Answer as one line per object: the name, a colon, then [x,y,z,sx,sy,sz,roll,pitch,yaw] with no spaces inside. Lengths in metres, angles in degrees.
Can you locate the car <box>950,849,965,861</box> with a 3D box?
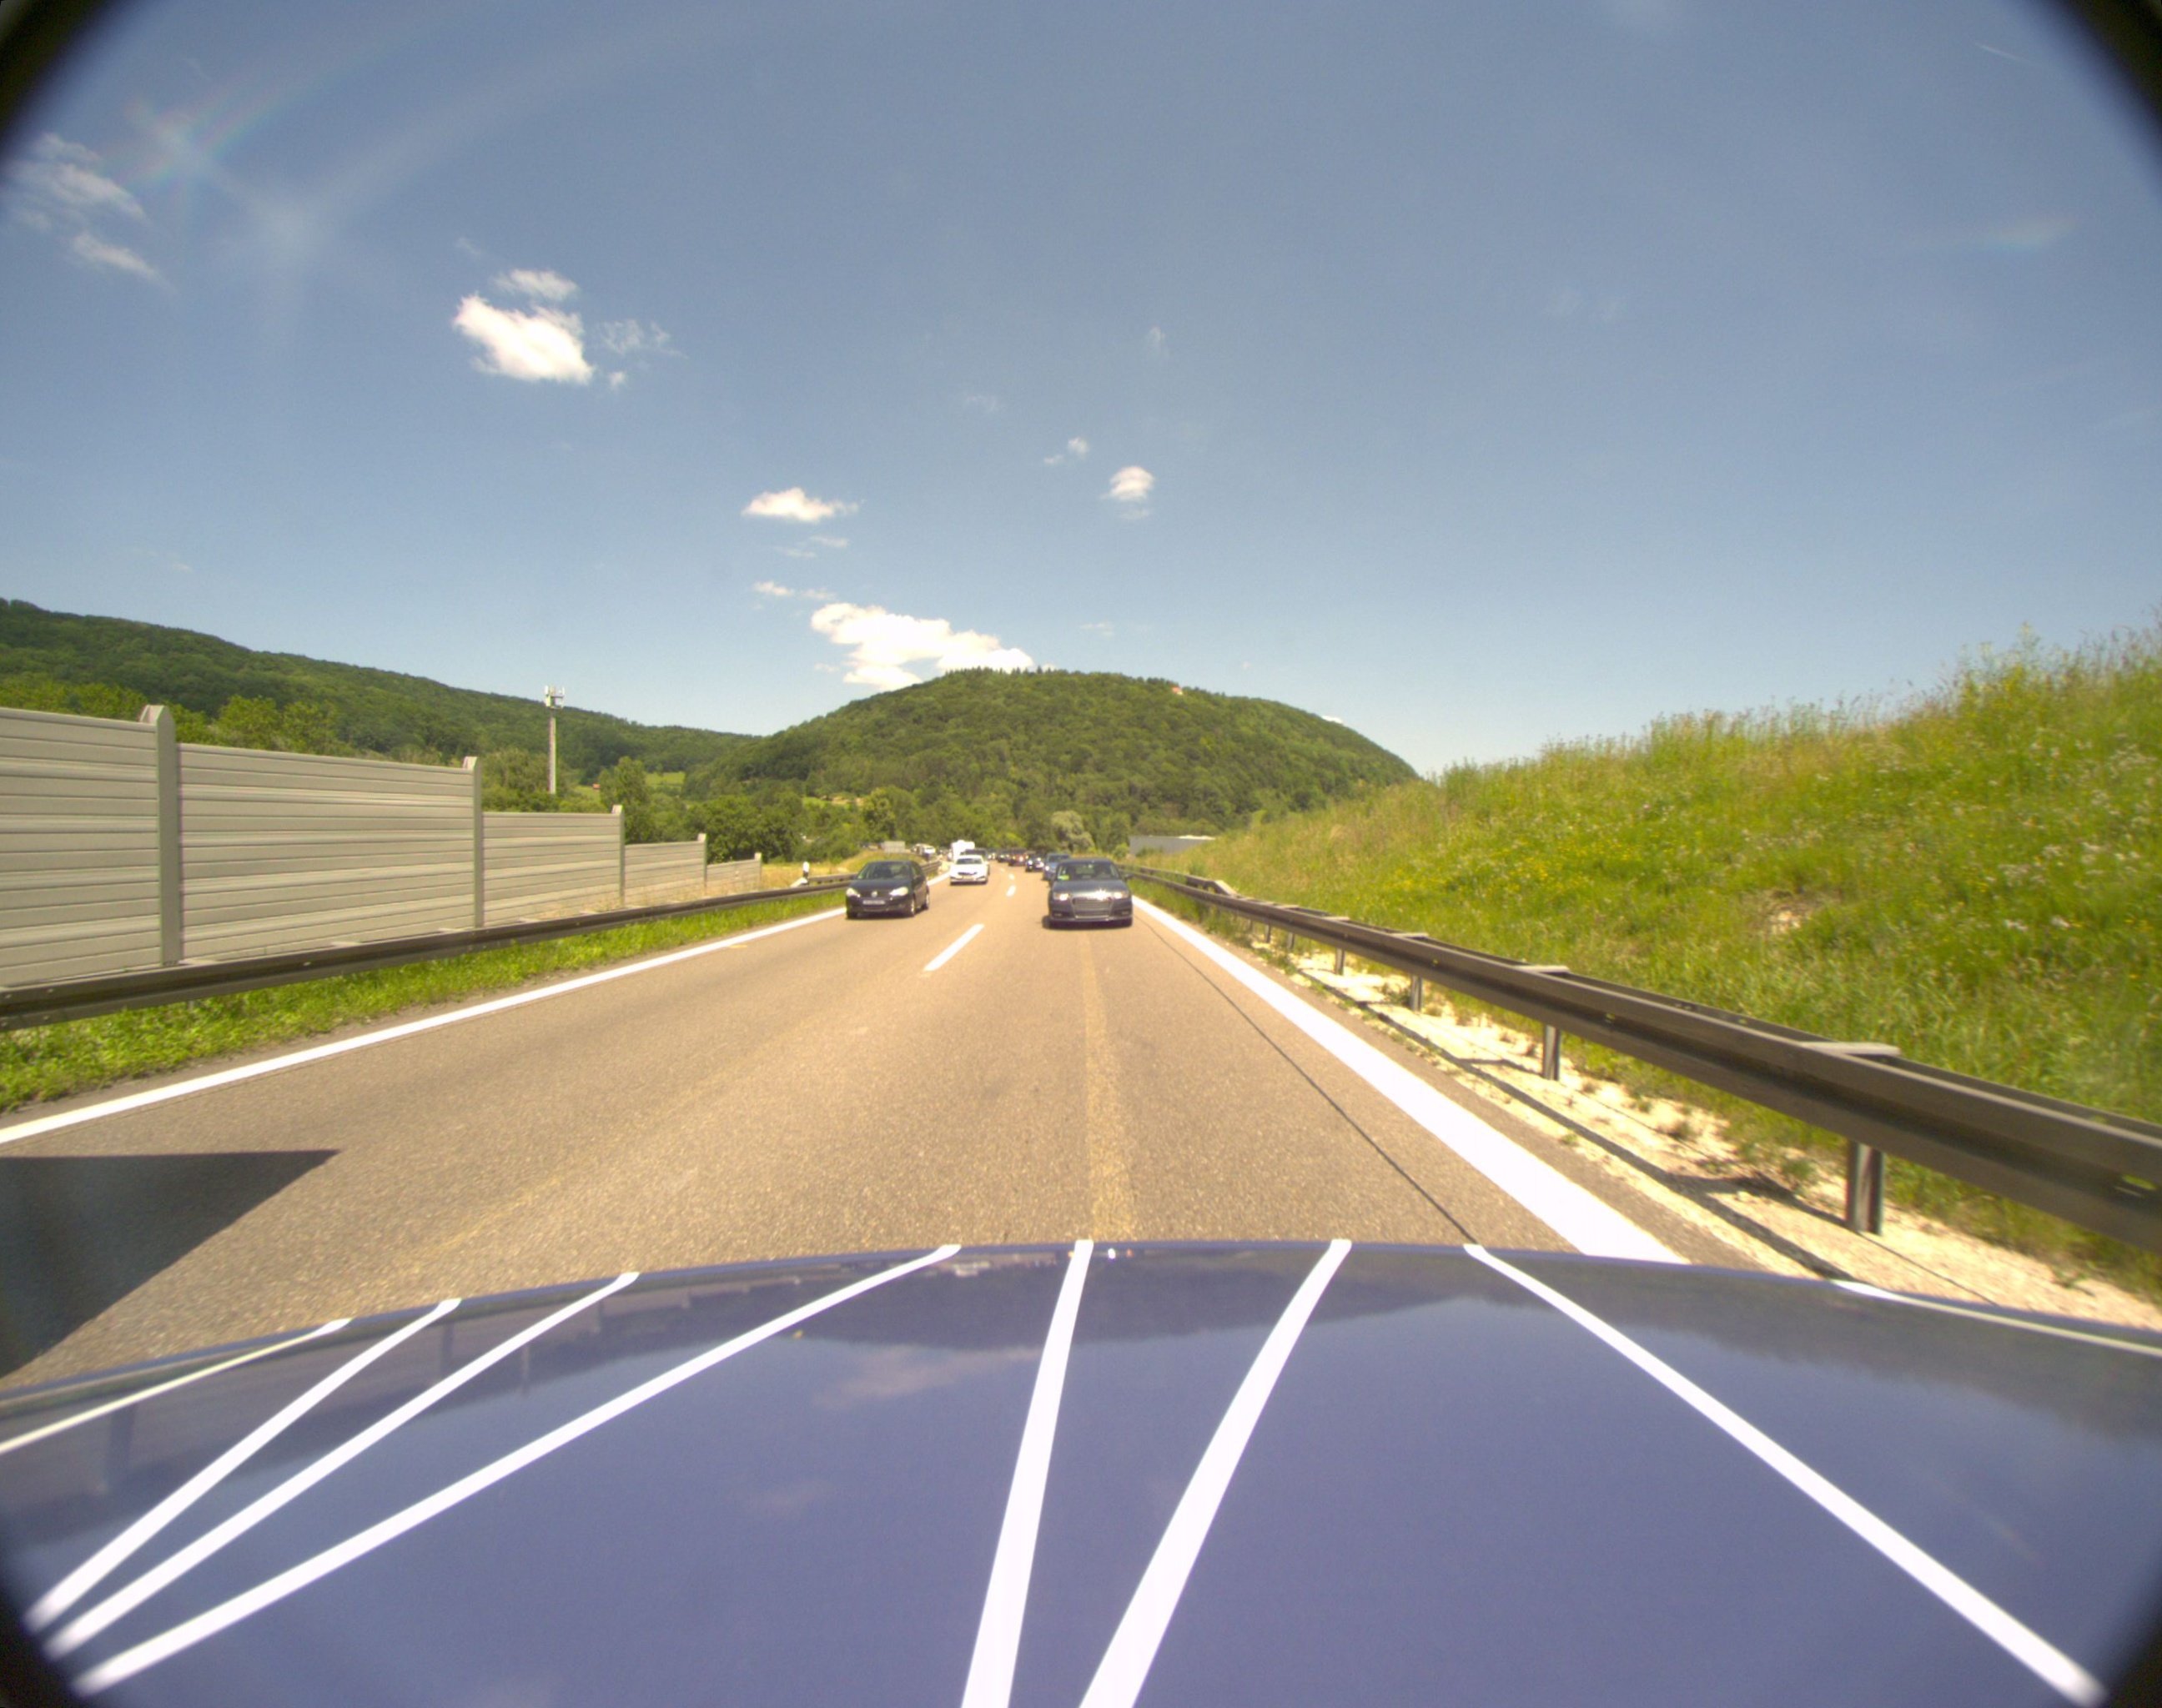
car: [-17.430,0.125,107.092,1.700,1.523,3.675,-4,1,-15]

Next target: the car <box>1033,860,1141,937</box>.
car: [-0.008,0.855,16.522,1.756,1.382,4.052,-2,0,-8]

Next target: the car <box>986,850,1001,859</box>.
car: [-11.852,0.037,102.900,1.493,1.102,3.210,-2,1,-14]

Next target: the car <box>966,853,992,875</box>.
car: [-6.797,0.629,50.945,1.489,1.375,3.736,1,0,-5]

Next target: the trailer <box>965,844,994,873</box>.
trailer: [-7.354,0.317,54.705,2.000,1.958,3.997,0,0,-8]

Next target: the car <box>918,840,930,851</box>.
car: [-31.341,-1.739,151.352,2.001,2.002,3.994,-2,1,-16]

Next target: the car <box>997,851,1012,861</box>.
car: [-9.056,0.176,89.853,1.492,1.102,3.210,-2,1,-11]

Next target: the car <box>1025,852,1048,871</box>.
car: [-3.429,0.556,57.629,1.287,1.305,3.449,-3,1,-10]

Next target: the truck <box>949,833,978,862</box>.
truck: [-13.818,-0.757,89.273,2.605,3.089,6.849,-4,1,-14]

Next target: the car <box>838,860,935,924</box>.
car: [-5.005,0.925,20.014,1.696,1.414,3.837,-2,1,-3]

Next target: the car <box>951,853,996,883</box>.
car: [-5.426,0.696,38.693,1.908,1.422,3.721,-2,0,-3]

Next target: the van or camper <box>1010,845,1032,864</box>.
van or camper: [-5.970,0.053,75.710,1.819,1.855,3.609,-2,1,-10]

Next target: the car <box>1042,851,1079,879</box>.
car: [-1.155,0.566,40.987,1.697,1.422,3.461,-2,1,-6]

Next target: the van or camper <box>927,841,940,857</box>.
van or camper: [-27.735,-0.896,142.760,1.912,3.010,4.867,-1,1,-18]
